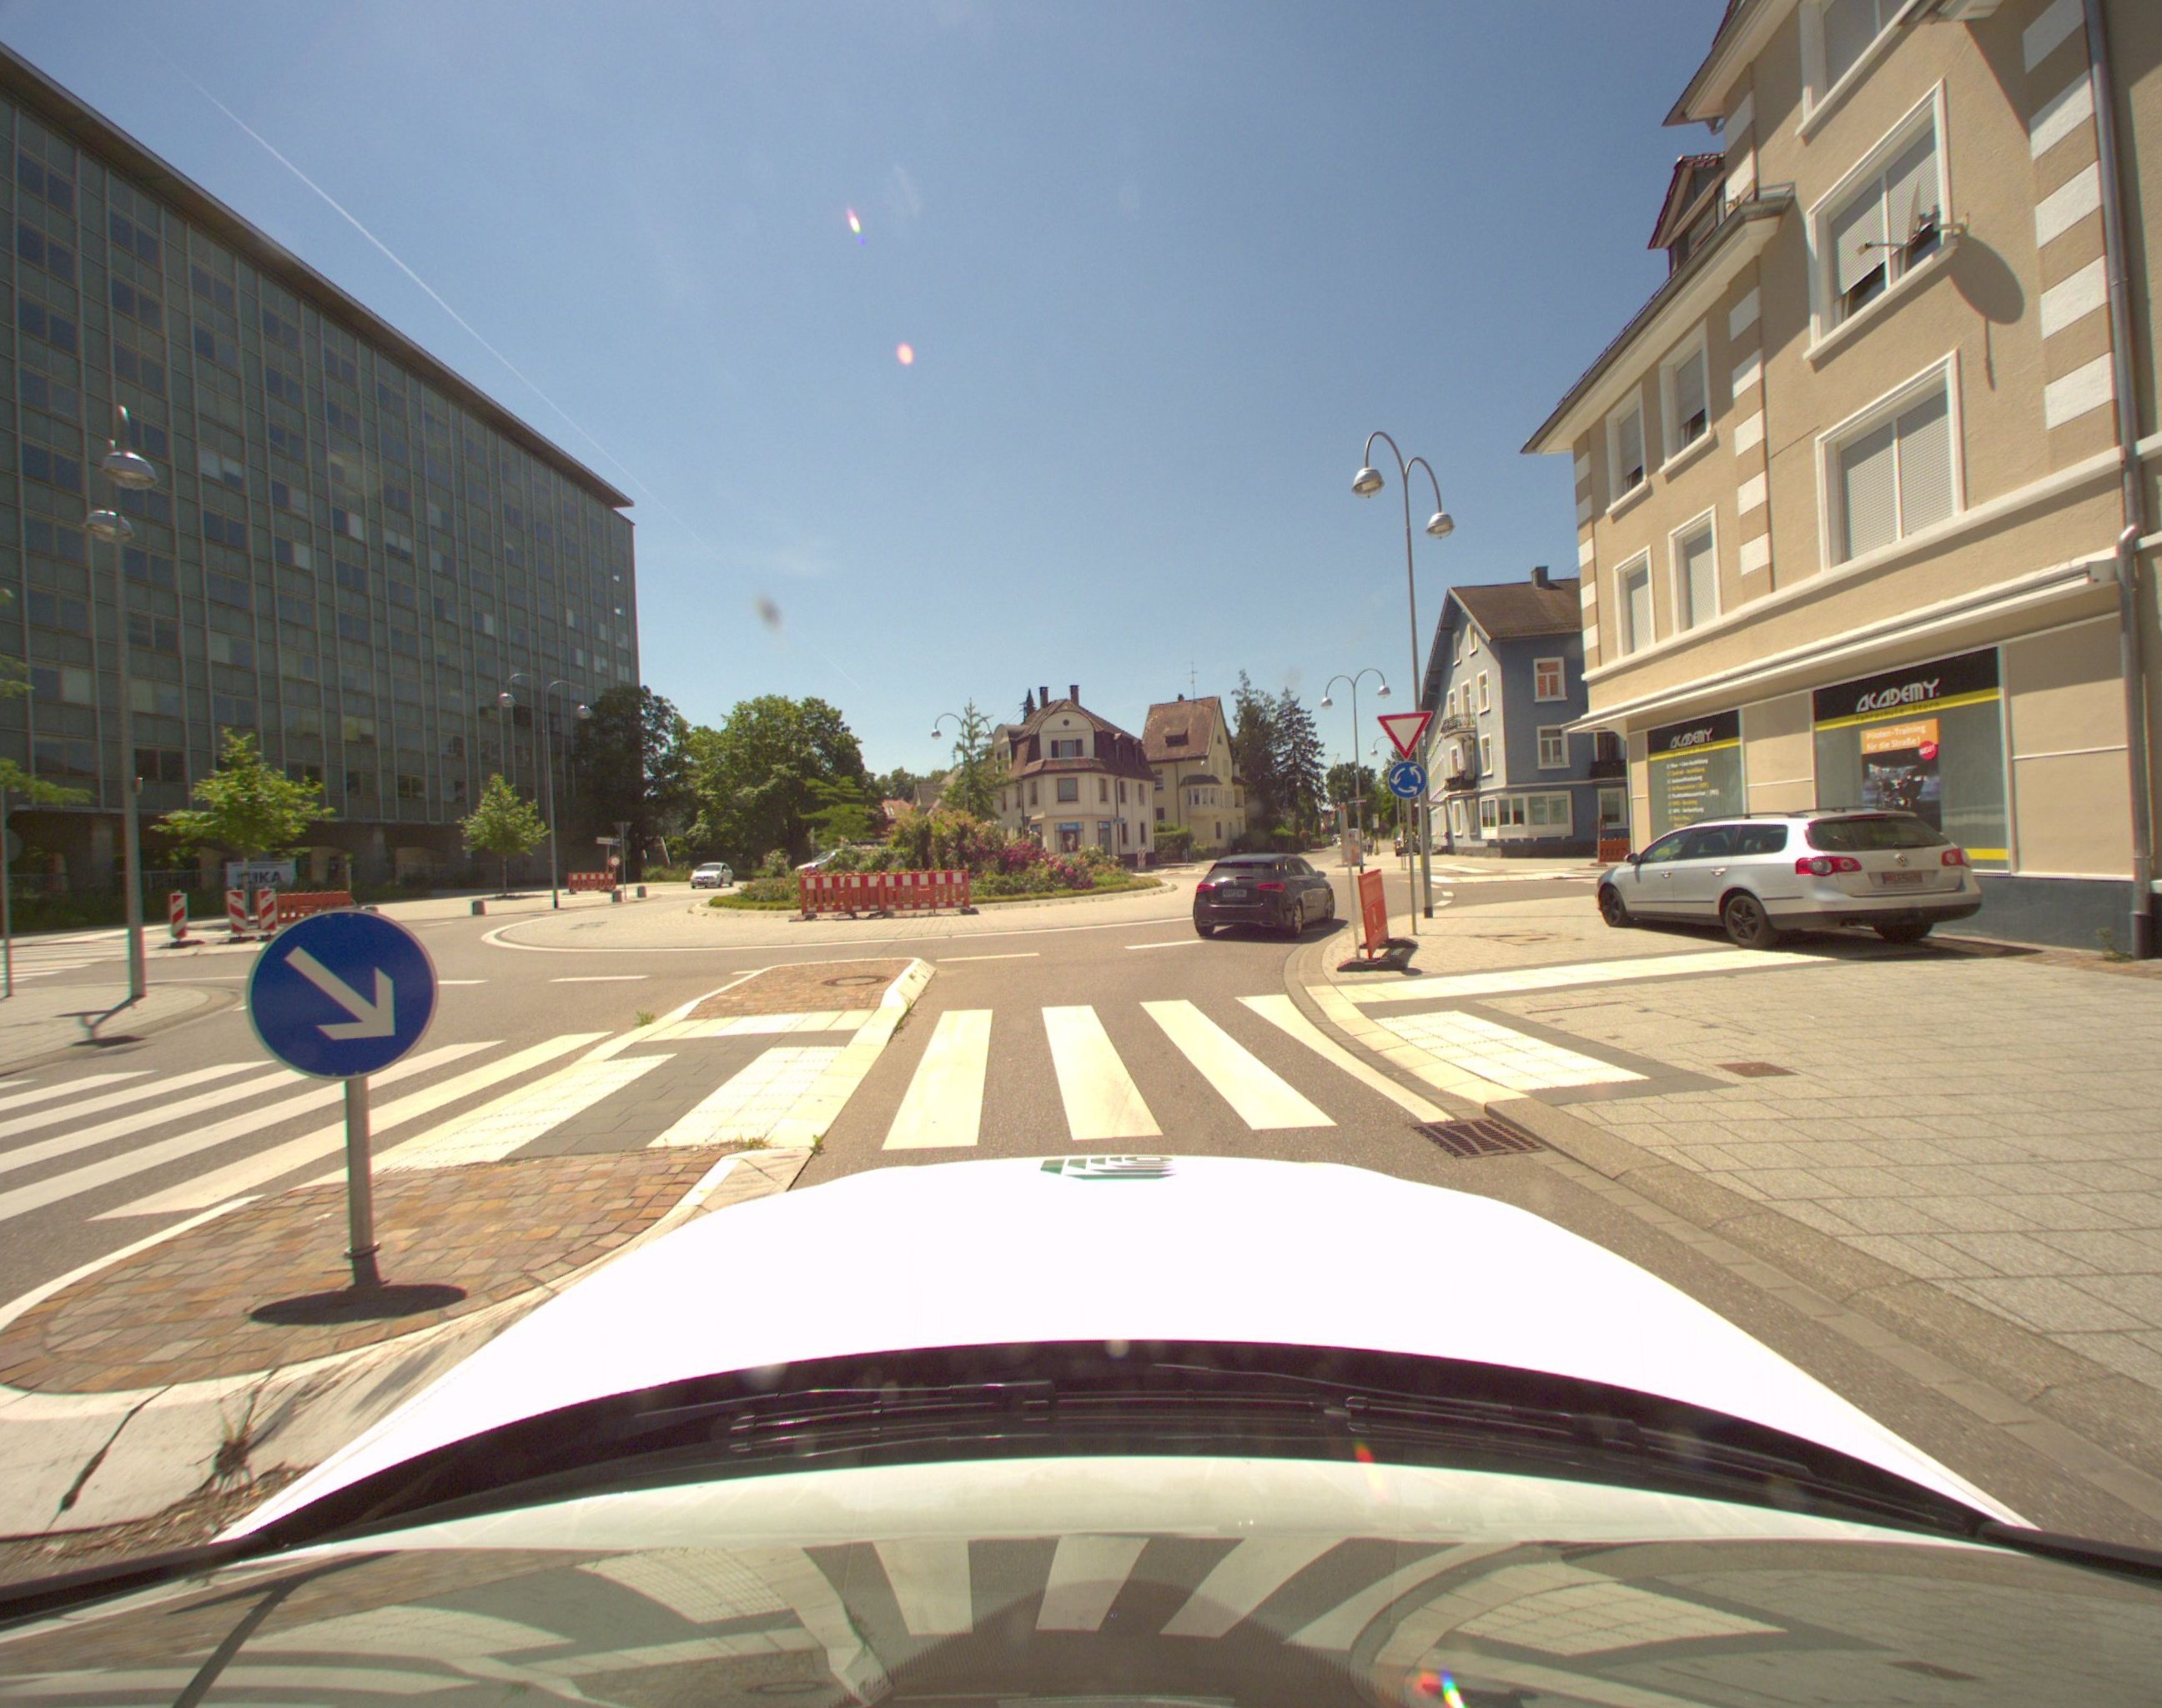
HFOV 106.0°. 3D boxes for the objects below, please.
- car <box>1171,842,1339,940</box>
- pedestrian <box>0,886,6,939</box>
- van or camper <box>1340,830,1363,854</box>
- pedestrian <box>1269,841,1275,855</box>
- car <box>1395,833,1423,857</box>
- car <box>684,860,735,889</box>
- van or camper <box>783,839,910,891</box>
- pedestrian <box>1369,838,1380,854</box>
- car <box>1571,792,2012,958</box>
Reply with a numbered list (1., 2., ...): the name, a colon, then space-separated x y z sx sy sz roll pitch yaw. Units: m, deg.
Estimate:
1. car: 3.369 0.584 15.149 1.935 1.427 4.025 -1 2 29
2. pedestrian: -33.356 1.798 24.317 0.937 1.585 1.289 -2 0 21
3. van or camper: 29.988 -1.326 90.188 2.187 2.610 4.021 -2 0 21
4. pedestrian: 20.486 -0.671 87.327 0.518 1.509 0.476 -2 0 28
5. car: 23.319 -0.647 57.892 1.625 1.507 3.583 -6 -1 22
6. car: -22.301 1.207 48.974 1.785 1.597 3.907 -2 0 -10
7. van or camper: -10.858 0.447 38.101 1.975 2.171 5.446 2 3 43
8. pedestrian: 24.795 -0.696 68.860 0.660 1.286 0.591 -6 -1 30
9. car: 8.395 0.207 10.374 1.756 1.530 4.697 -4 0 5
